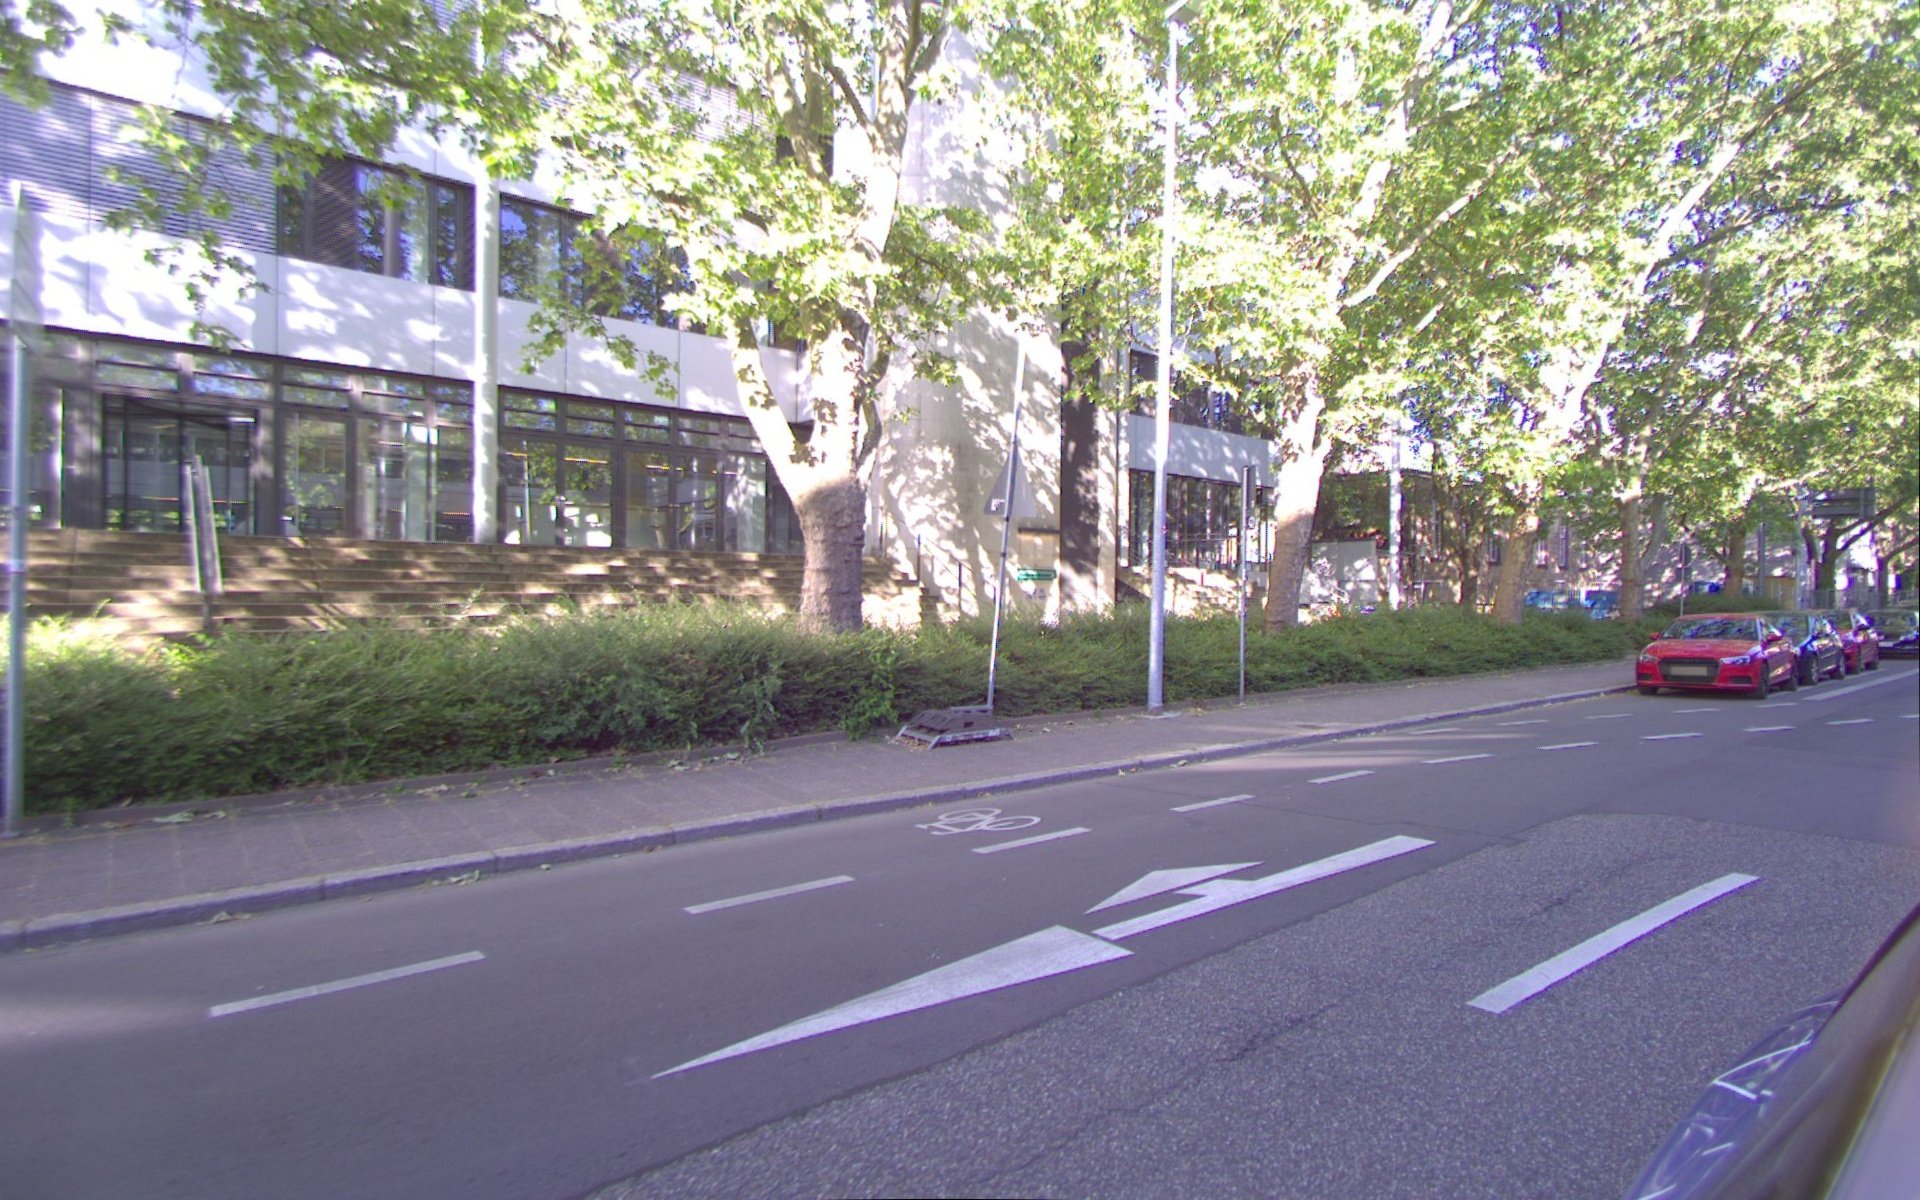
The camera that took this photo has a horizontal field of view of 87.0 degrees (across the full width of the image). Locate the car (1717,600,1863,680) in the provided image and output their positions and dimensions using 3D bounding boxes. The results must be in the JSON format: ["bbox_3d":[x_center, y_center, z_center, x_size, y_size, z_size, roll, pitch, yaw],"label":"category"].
[{"bbox_3d":[17.251,0.760,20.977,3.930,1.485,1.684,0,-1,-41],"label":"car"}]

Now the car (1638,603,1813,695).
[{"bbox_3d":[13.659,0.801,17.983,3.961,1.439,1.722,0,-2,-42],"label":"car"}]

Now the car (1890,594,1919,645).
[{"bbox_3d":[32.068,0.619,33.347,3.769,1.640,1.685,0,0,-41],"label":"car"}]

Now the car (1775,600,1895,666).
[{"bbox_3d":[21.083,0.741,24.336,3.715,1.452,1.665,0,0,-41],"label":"car"}]

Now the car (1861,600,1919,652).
[{"bbox_3d":[28.541,0.741,30.426,3.930,1.469,1.685,0,0,-41],"label":"car"}]

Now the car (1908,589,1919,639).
[{"bbox_3d":[36.560,0.499,37.361,4.353,1.790,1.818,0,0,-41],"label":"car"}]
